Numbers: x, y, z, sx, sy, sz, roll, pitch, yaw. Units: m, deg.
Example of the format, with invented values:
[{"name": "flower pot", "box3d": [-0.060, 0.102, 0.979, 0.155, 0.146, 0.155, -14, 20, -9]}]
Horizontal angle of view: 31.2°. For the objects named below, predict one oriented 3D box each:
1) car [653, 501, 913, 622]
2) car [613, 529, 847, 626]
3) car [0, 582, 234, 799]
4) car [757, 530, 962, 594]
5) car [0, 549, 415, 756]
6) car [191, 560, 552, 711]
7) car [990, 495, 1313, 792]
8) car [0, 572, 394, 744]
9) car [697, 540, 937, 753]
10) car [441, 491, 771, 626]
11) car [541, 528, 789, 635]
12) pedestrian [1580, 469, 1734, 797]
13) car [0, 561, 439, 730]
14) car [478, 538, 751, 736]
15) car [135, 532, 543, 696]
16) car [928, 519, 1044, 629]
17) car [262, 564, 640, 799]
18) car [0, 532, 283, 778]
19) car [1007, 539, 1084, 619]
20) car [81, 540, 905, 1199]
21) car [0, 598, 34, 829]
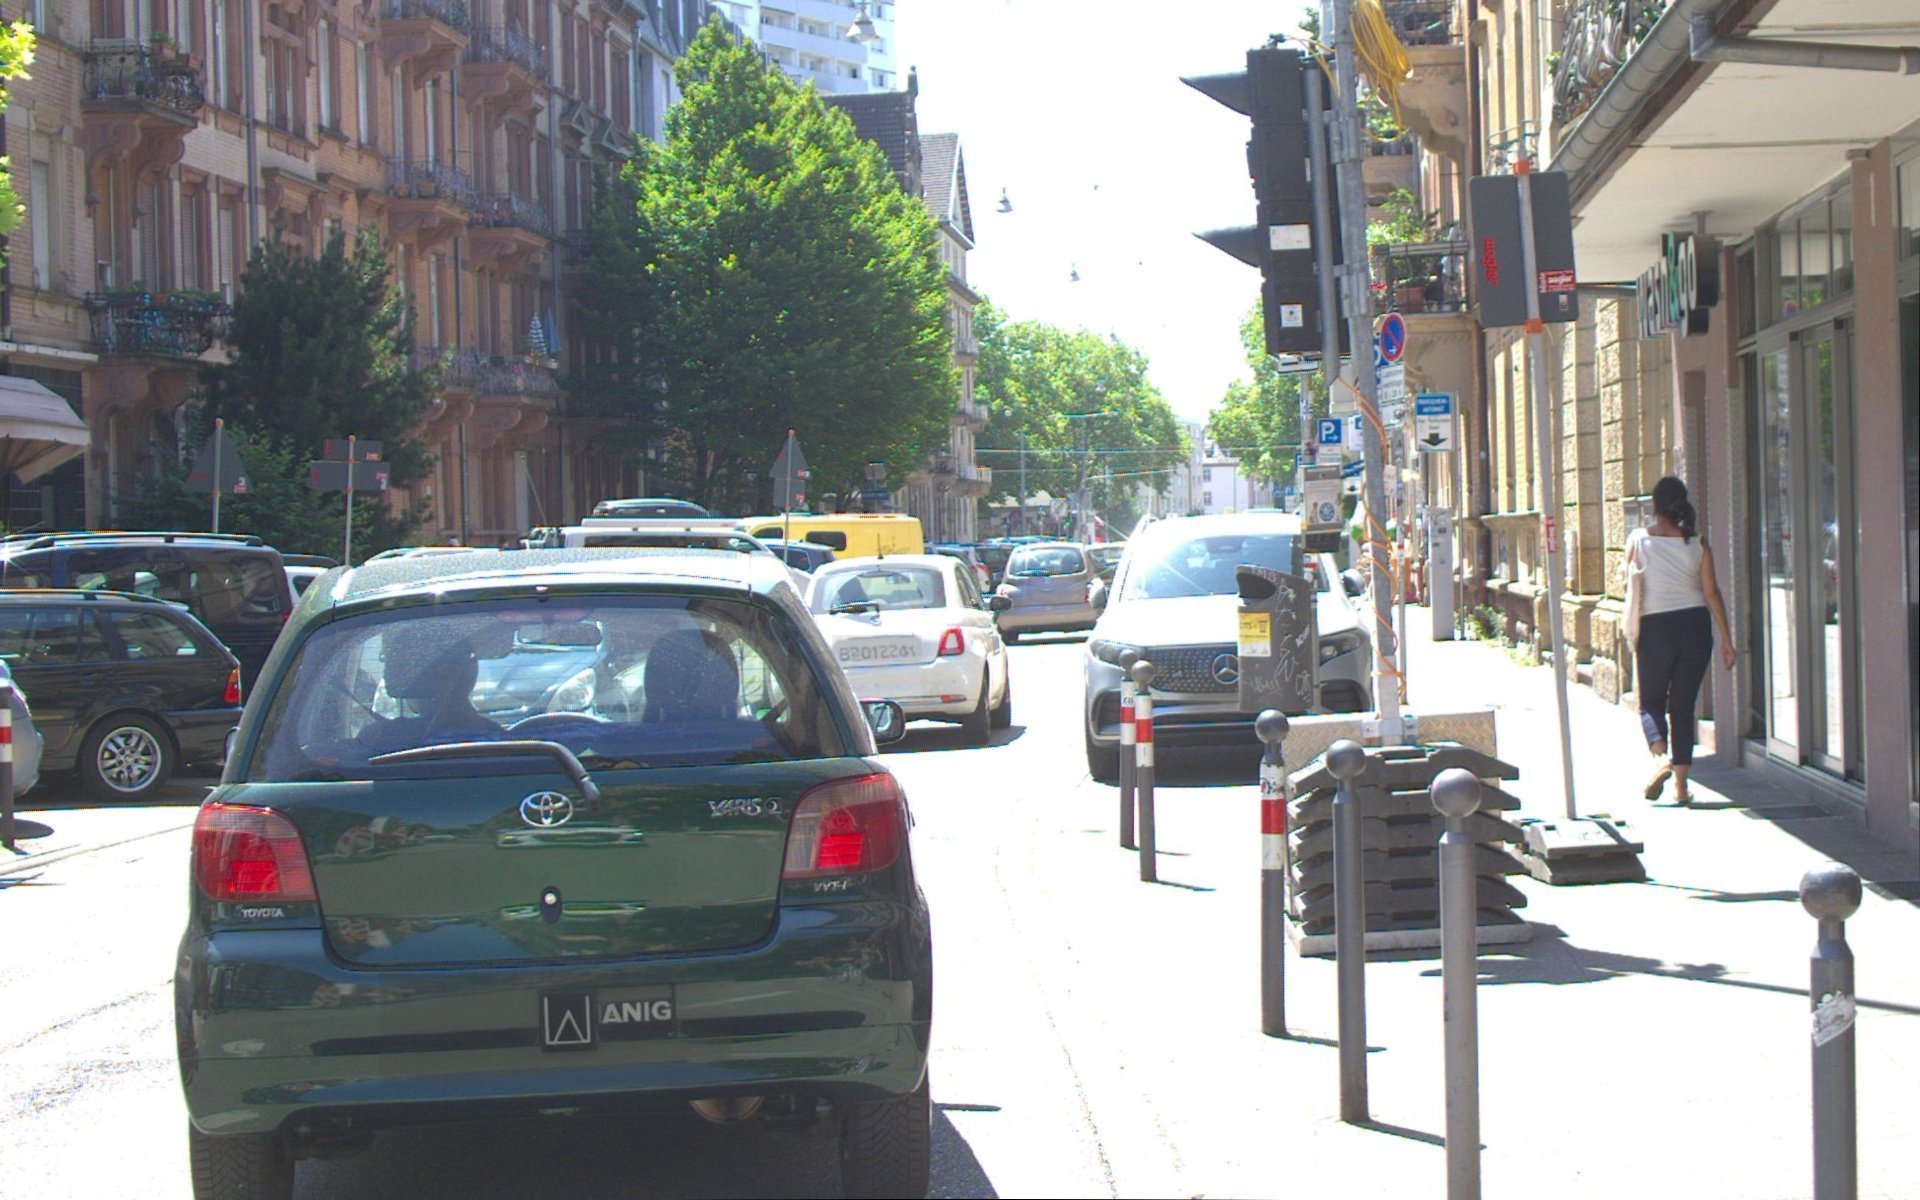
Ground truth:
[{"name": "car", "box3d": [-3.407, -0.762, 66.164, 4.557, 2.180, 2.000, -2, 1, -22]}, {"name": "car", "box3d": [-4.174, -0.426, 62.246, 3.861, 1.634, 1.786, -2, 1, -19]}, {"name": "car", "box3d": [-7.235, 0.611, 23.684, 3.986, 1.407, 1.972, -1, 1, -27]}, {"name": "car", "box3d": [-2.446, -0.932, 83.619, 4.557, 1.429, 2.000, -2, 1, -22]}, {"name": "car", "box3d": [-6.743, 0.407, 29.068, 3.986, 1.652, 1.760, 0, 1, -18]}, {"name": "car", "box3d": [-6.936, 0.383, 40.449, 3.909, 1.613, 1.866, -2, 1, -19]}, {"name": "car", "box3d": [1.349, 0.221, 23.168, 1.872, 1.707, 4.503, -3, 1, 5]}, {"name": "car", "box3d": [-7.054, 0.493, 31.049, 3.618, 1.453, 1.625, 0, 1, -19]}, {"name": "car", "box3d": [-1.082, 0.323, 27.363, 1.522, 1.516, 3.263, -2, 2, 4]}, {"name": "car", "box3d": [-5.627, -0.682, 54.633, 4.772, 1.987, 2.054, -2, 1, -24]}, {"name": "car", "box3d": [-5.122, -0.337, 59.538, 3.909, 1.702, 1.866, -2, 1, -19]}, {"name": "pedestrian", "box3d": [3.547, 0.157, 17.534, 0.641, 1.618, 0.804, -2, 1, 5]}, {"name": "car", "box3d": [-7.319, 0.407, 33.758, 3.911, 1.465, 1.865, -2, 1, -36]}, {"name": "car", "box3d": [-3.261, 0.298, 33.285, 1.755, 1.639, 4.377, -4, 1, 5]}, {"name": "car", "box3d": [-6.730, 0.122, 37.380, 3.911, 1.613, 1.865, -2, 1, -36]}, {"name": "car", "box3d": [0.427, -0.422, 52.939, 1.522, 1.587, 3.263, -2, 2, 4]}, {"name": "car", "box3d": [-3.528, 0.514, 24.554, 1.755, 1.439, 4.000, -2, 1, 5]}, {"name": "car", "box3d": [-7.312, 0.385, 26.039, 3.986, 1.798, 1.769, 0, 1, -25]}, {"name": "car", "box3d": [1.847, -0.467, 73.464, 1.522, 1.587, 3.264, -2, 2, 3]}, {"name": "car", "box3d": [-1.151, 0.628, 8.589, 1.613, 1.480, 3.242, -2, 2, -8]}, {"name": "car", "box3d": [-7.855, 0.697, 20.965, 3.986, 1.371, 2.000, 0, 1, -24]}]
